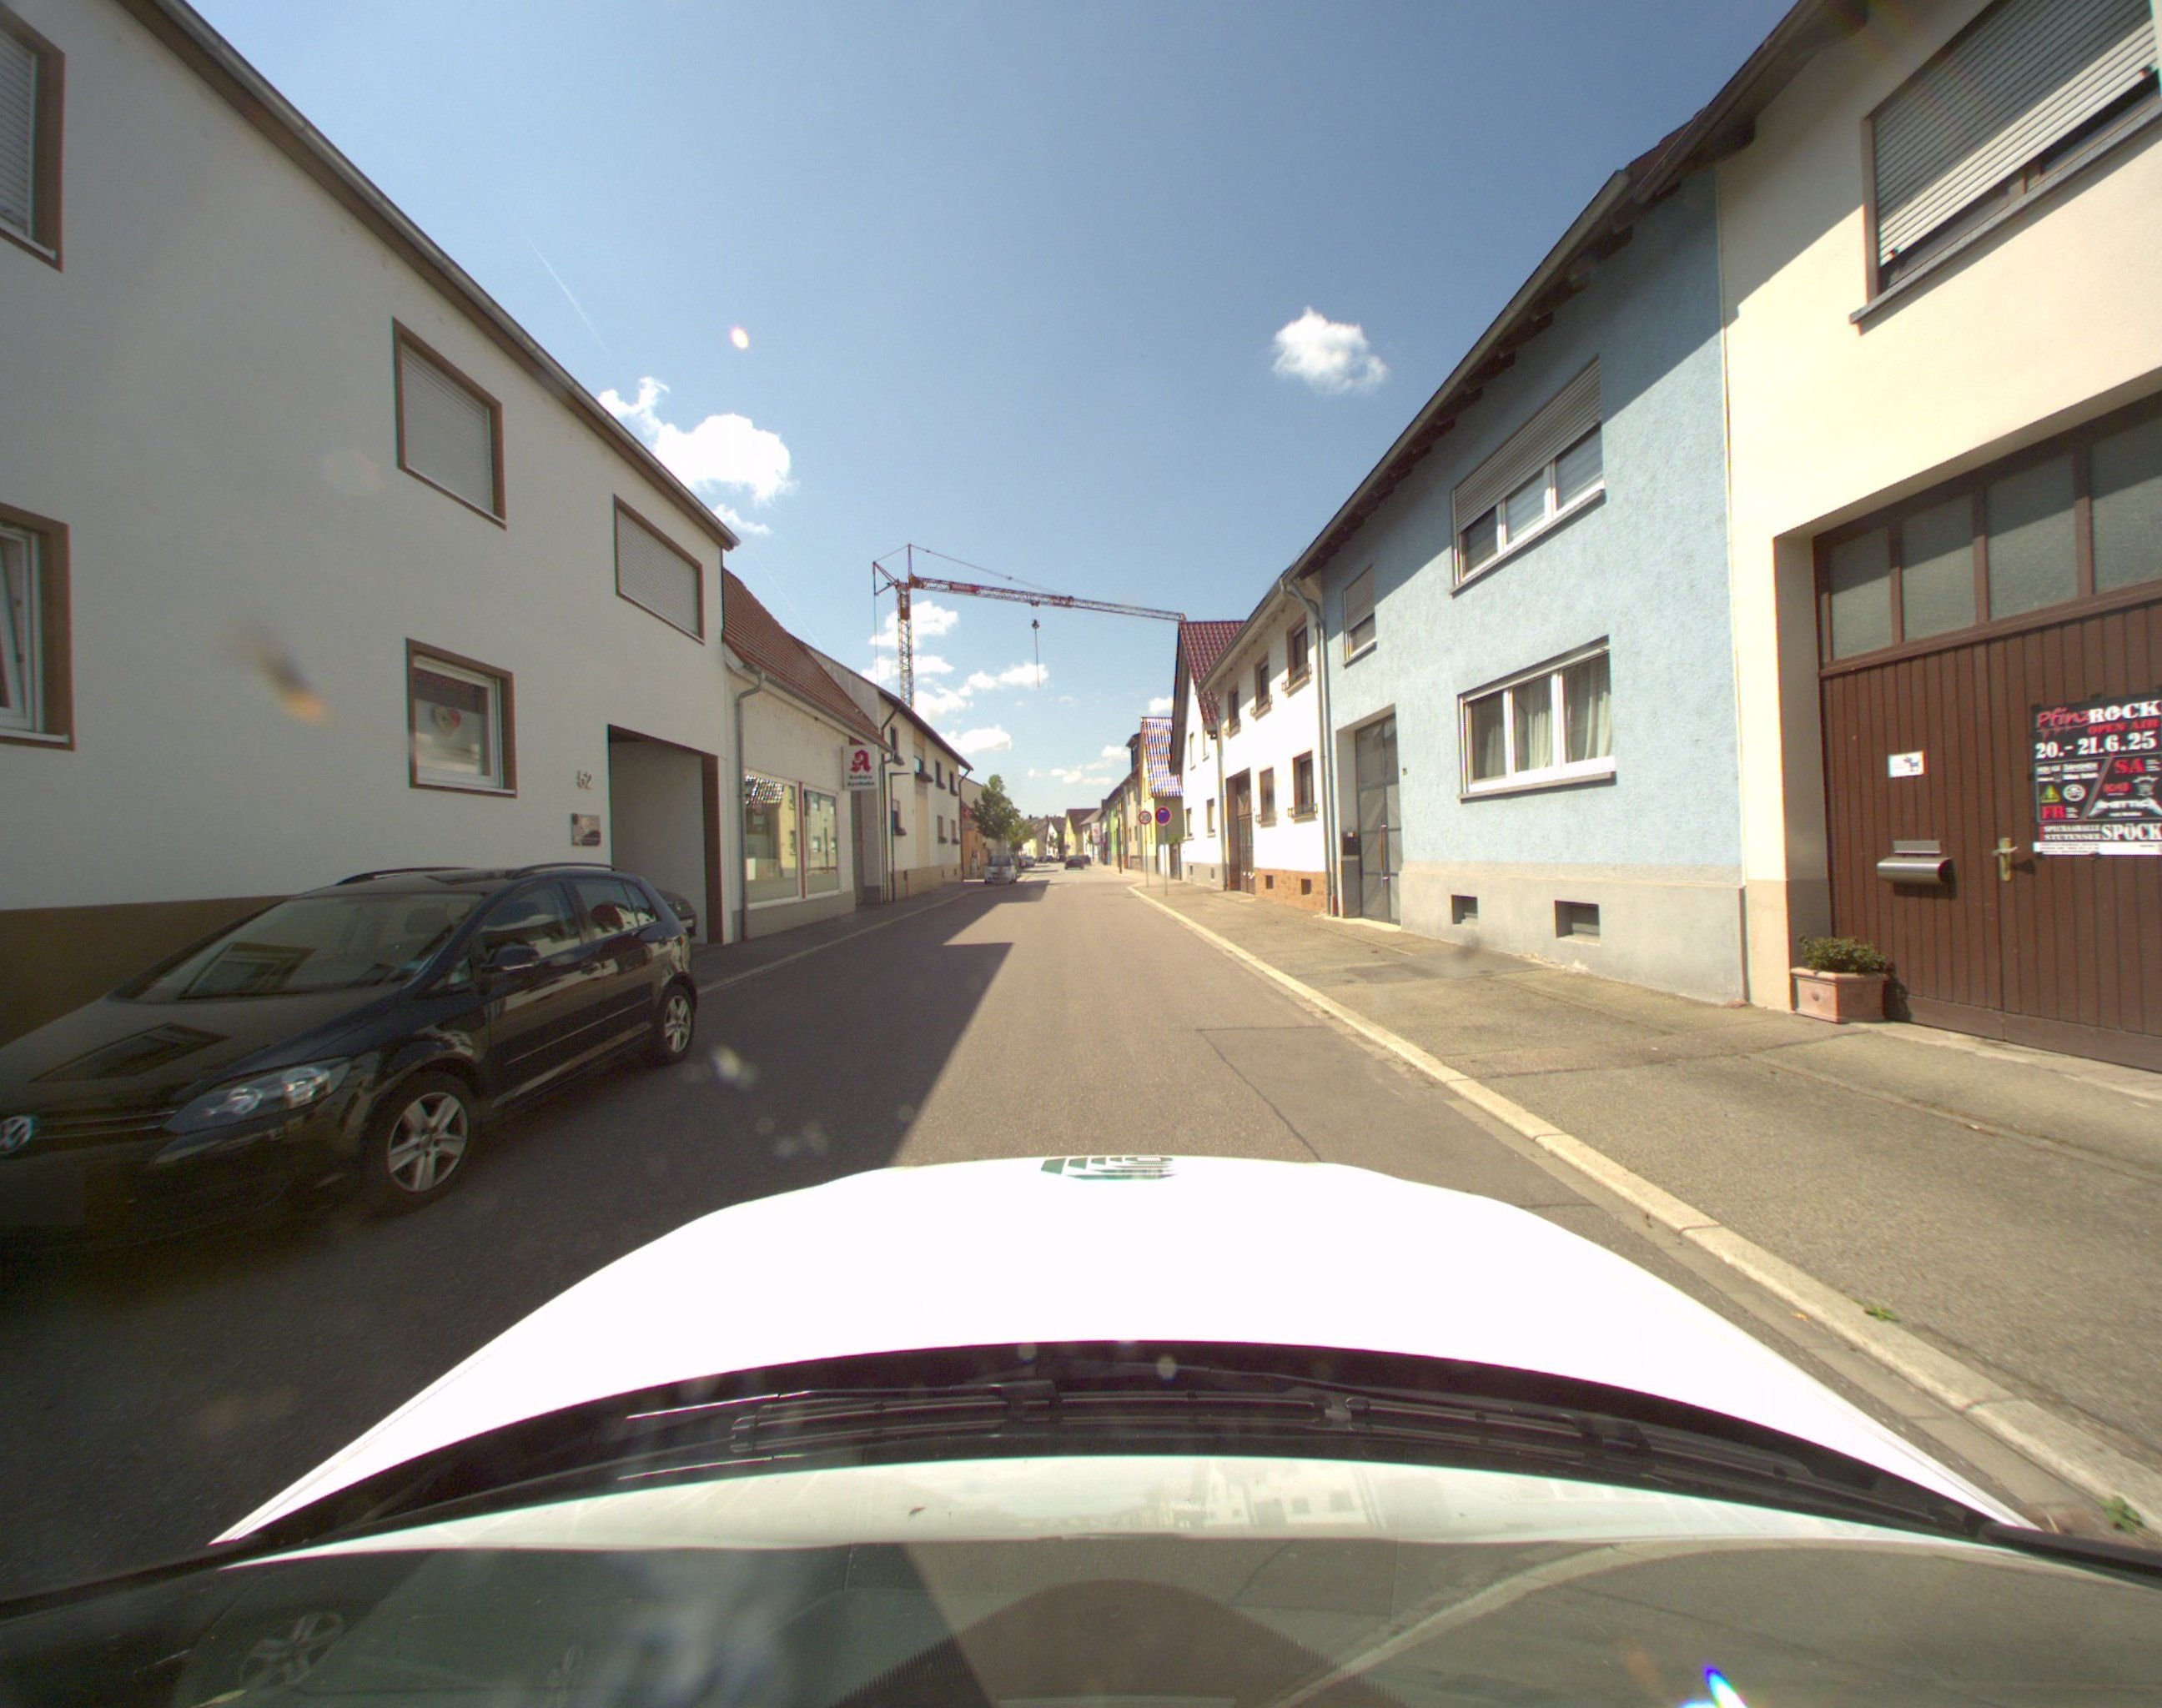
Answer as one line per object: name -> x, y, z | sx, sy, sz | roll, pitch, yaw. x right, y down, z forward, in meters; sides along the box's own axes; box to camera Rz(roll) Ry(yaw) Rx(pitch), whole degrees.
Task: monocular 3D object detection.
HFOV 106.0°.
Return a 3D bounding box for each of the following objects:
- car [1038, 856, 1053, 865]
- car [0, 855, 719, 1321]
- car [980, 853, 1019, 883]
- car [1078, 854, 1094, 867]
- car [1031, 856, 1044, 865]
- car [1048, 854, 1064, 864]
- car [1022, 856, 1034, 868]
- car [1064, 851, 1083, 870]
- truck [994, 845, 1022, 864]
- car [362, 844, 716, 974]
car -> -6.970, 1.320, 160.530 | 1.825, 1.753, 4.204 | -2, 0, -17
car -> -3.901, 0.841, 4.897 | 1.649, 1.609, 4.058 | -2, 0, -1
car -> -4.359, 0.718, 44.003 | 1.718, 1.555, 4.171 | 0, 0, 0
car -> 0.671, 0.857, 104.234 | 1.779, 1.564, 4.332 | -3, 0, -3
car -> -8.988, 1.387, 168.185 | 1.823, 1.753, 4.209 | -2, 0, -13
car -> -4.667, 1.009, 150.917 | 1.787, 1.753, 4.203 | -2, 0, -17
car -> -7.376, 1.070, 113.050 | 1.731, 1.687, 4.225 | 0, 0, -5
car -> -0.778, 0.679, 82.496 | 1.778, 1.753, 3.997 | -3, 0, -2
truck -> -16.667, 0.158, 183.710 | 3.387, 3.865, 13.843 | -2, 0, -17
car -> -8.372, 0.804, 12.911 | 4.230, 1.748, 1.879 | -2, 0, -2
